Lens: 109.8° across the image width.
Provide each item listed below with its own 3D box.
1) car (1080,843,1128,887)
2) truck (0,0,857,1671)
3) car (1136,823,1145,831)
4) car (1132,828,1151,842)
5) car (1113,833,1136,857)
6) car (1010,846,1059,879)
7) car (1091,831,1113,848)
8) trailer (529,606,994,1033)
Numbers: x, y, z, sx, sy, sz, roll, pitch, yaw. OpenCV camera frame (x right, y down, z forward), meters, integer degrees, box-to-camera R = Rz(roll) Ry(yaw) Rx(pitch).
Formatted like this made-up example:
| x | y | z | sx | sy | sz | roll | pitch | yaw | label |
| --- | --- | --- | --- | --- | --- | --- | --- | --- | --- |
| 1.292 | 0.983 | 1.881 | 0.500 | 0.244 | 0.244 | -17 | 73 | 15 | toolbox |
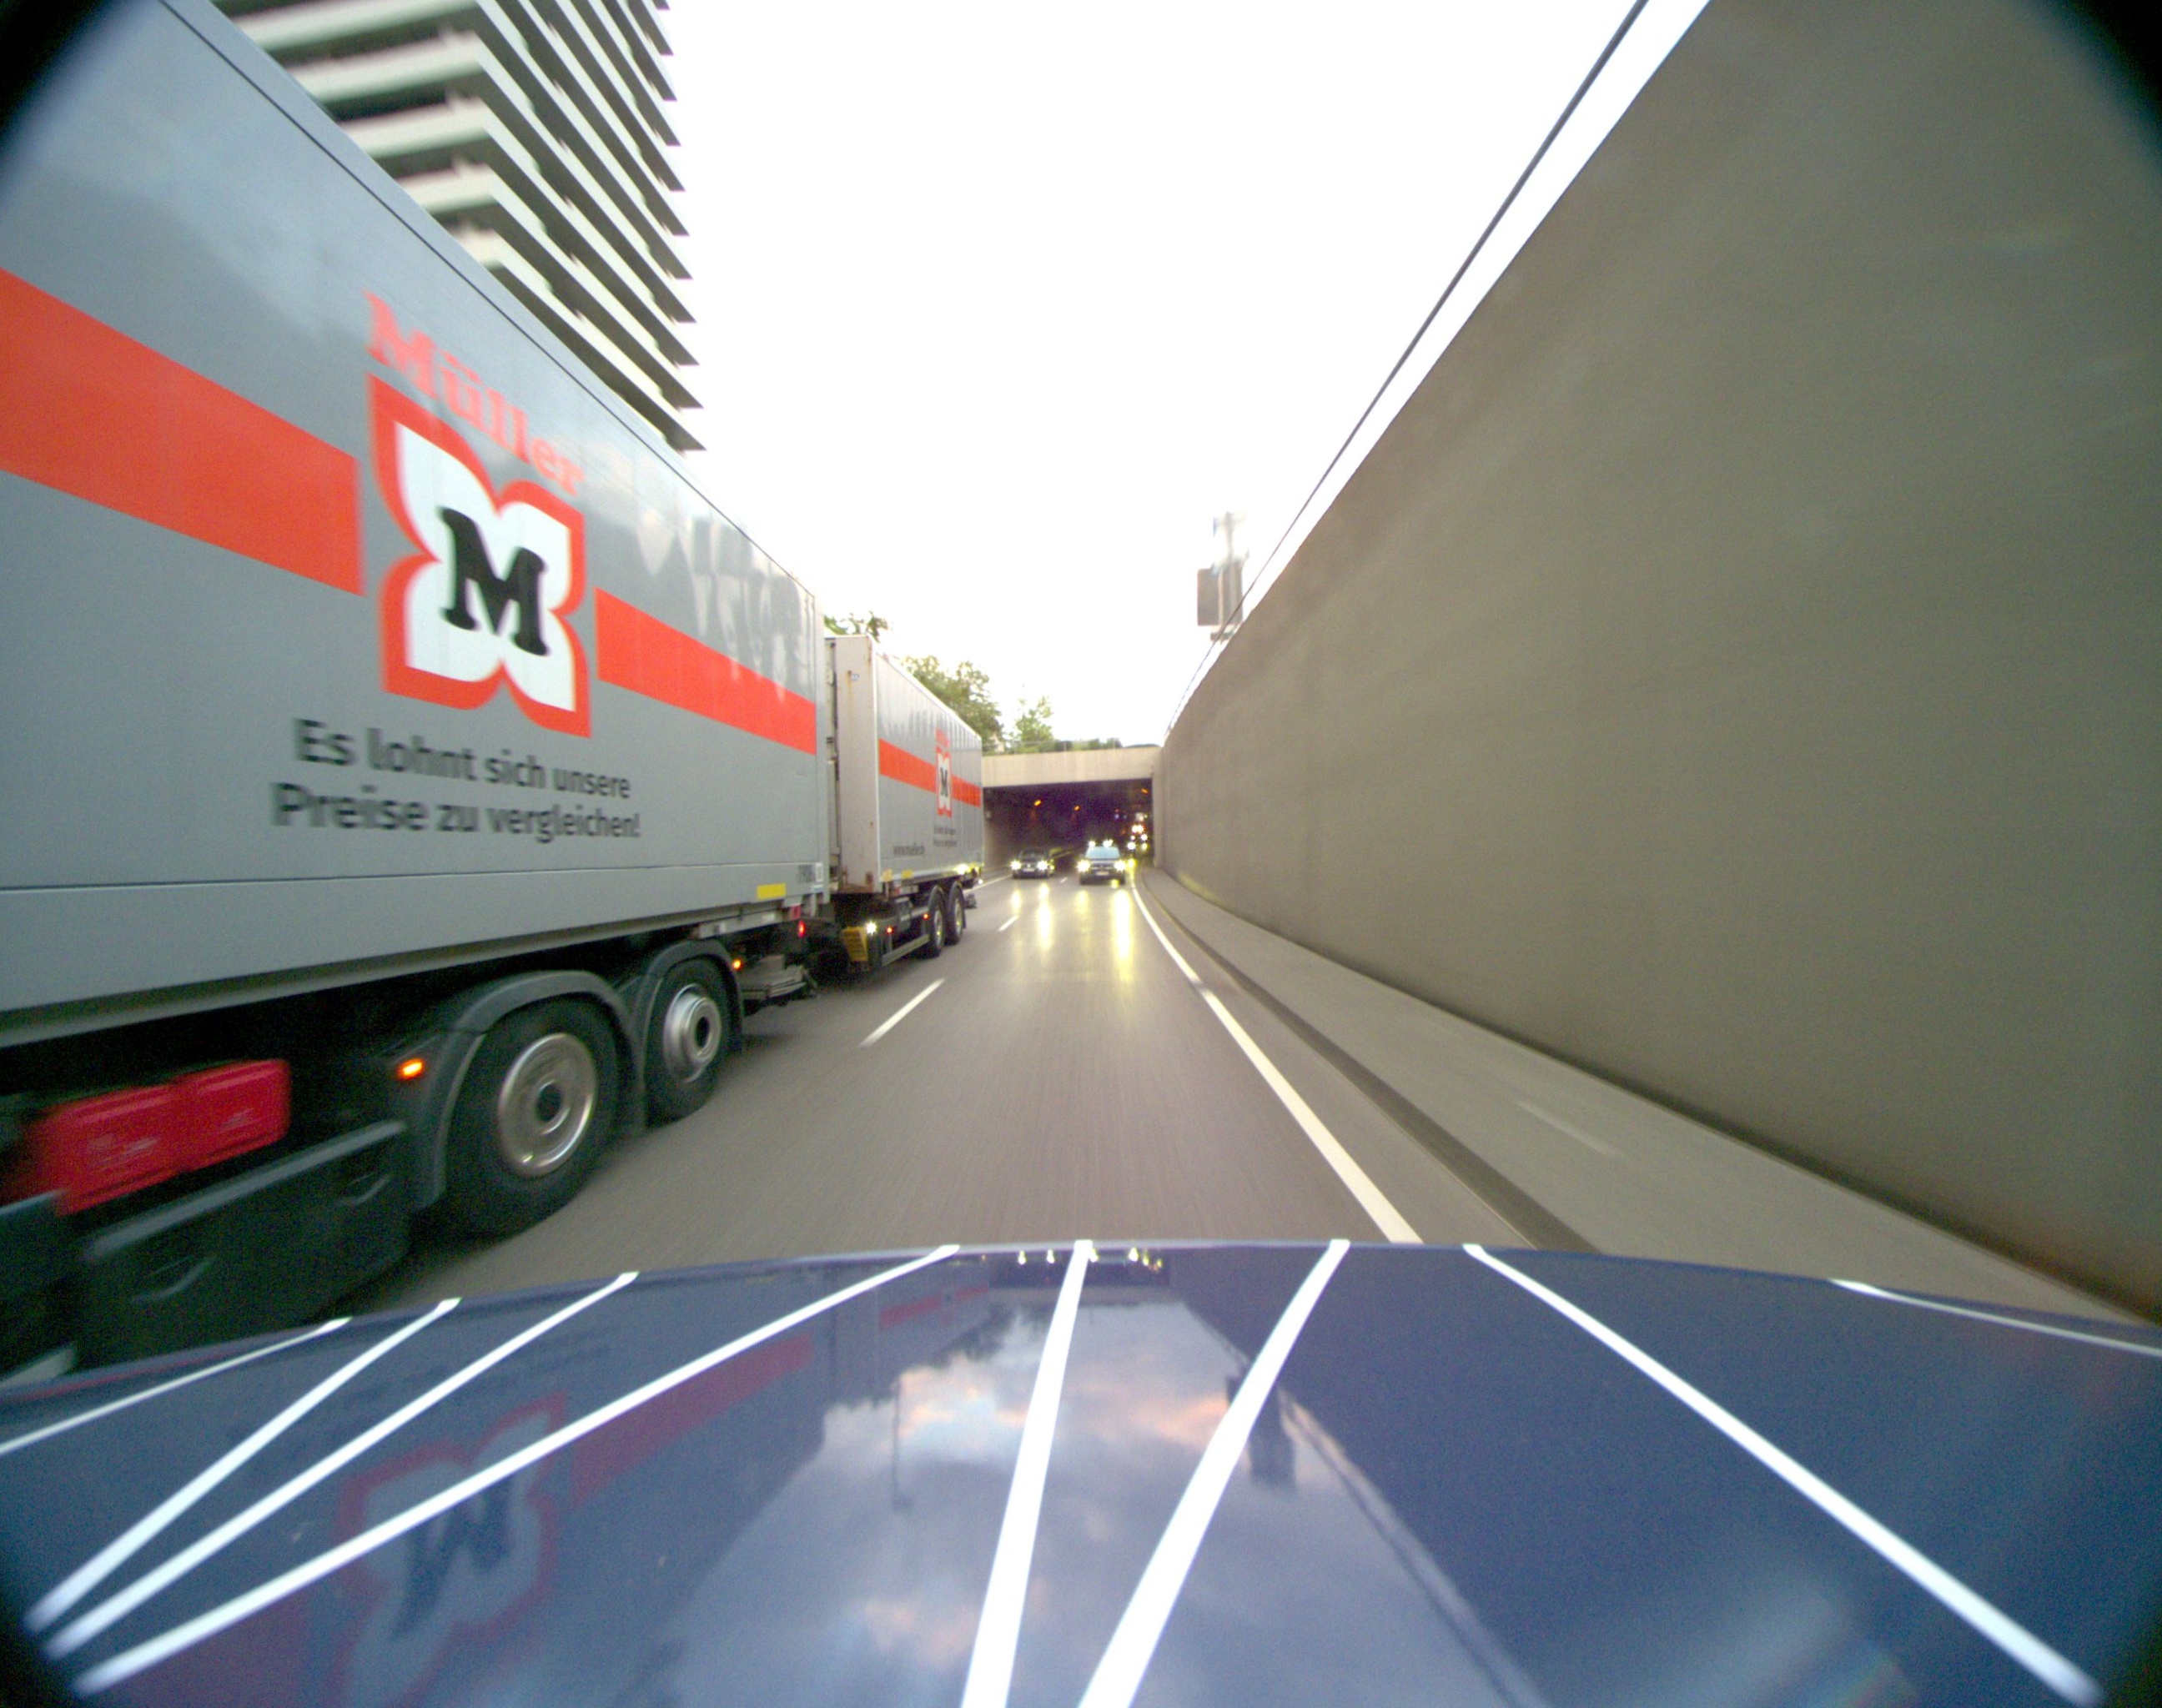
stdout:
| x | y | z | sx | sy | sz | roll | pitch | yaw | label |
| --- | --- | --- | --- | --- | --- | --- | --- | --- | --- |
| 1.020 | 0.403 | 31.637 | 1.819 | 1.590 | 3.999 | -1 | 2 | 4 | car |
| -3.706 | -0.233 | 2.046 | 2.896 | 3.891 | 9.908 | -2 | 1 | 1 | truck |
| 13.867 | -6.201 | 176.603 | 1.998 | 1.674 | 4.000 | -3 | 1 | 3 | car |
| 7.426 | -2.345 | 92.570 | 1.997 | 1.576 | 4.653 | -3 | 1 | 8 | car |
| 3.598 | -0.744 | 61.978 | 1.714 | 1.729 | 3.999 | -3 | 3 | 4 | car |
| -2.171 | 0.368 | 36.423 | 1.734 | 1.395 | 3.799 | -1 | 1 | 6 | car |
| 2.103 | -1.498 | 76.222 | 1.735 | 1.565 | 4.001 | -3 | 1 | 7 | car |
| -3.453 | -0.350 | 11.479 | 2.882 | 3.836 | 8.947 | -2 | 1 | 1 | trailer |
